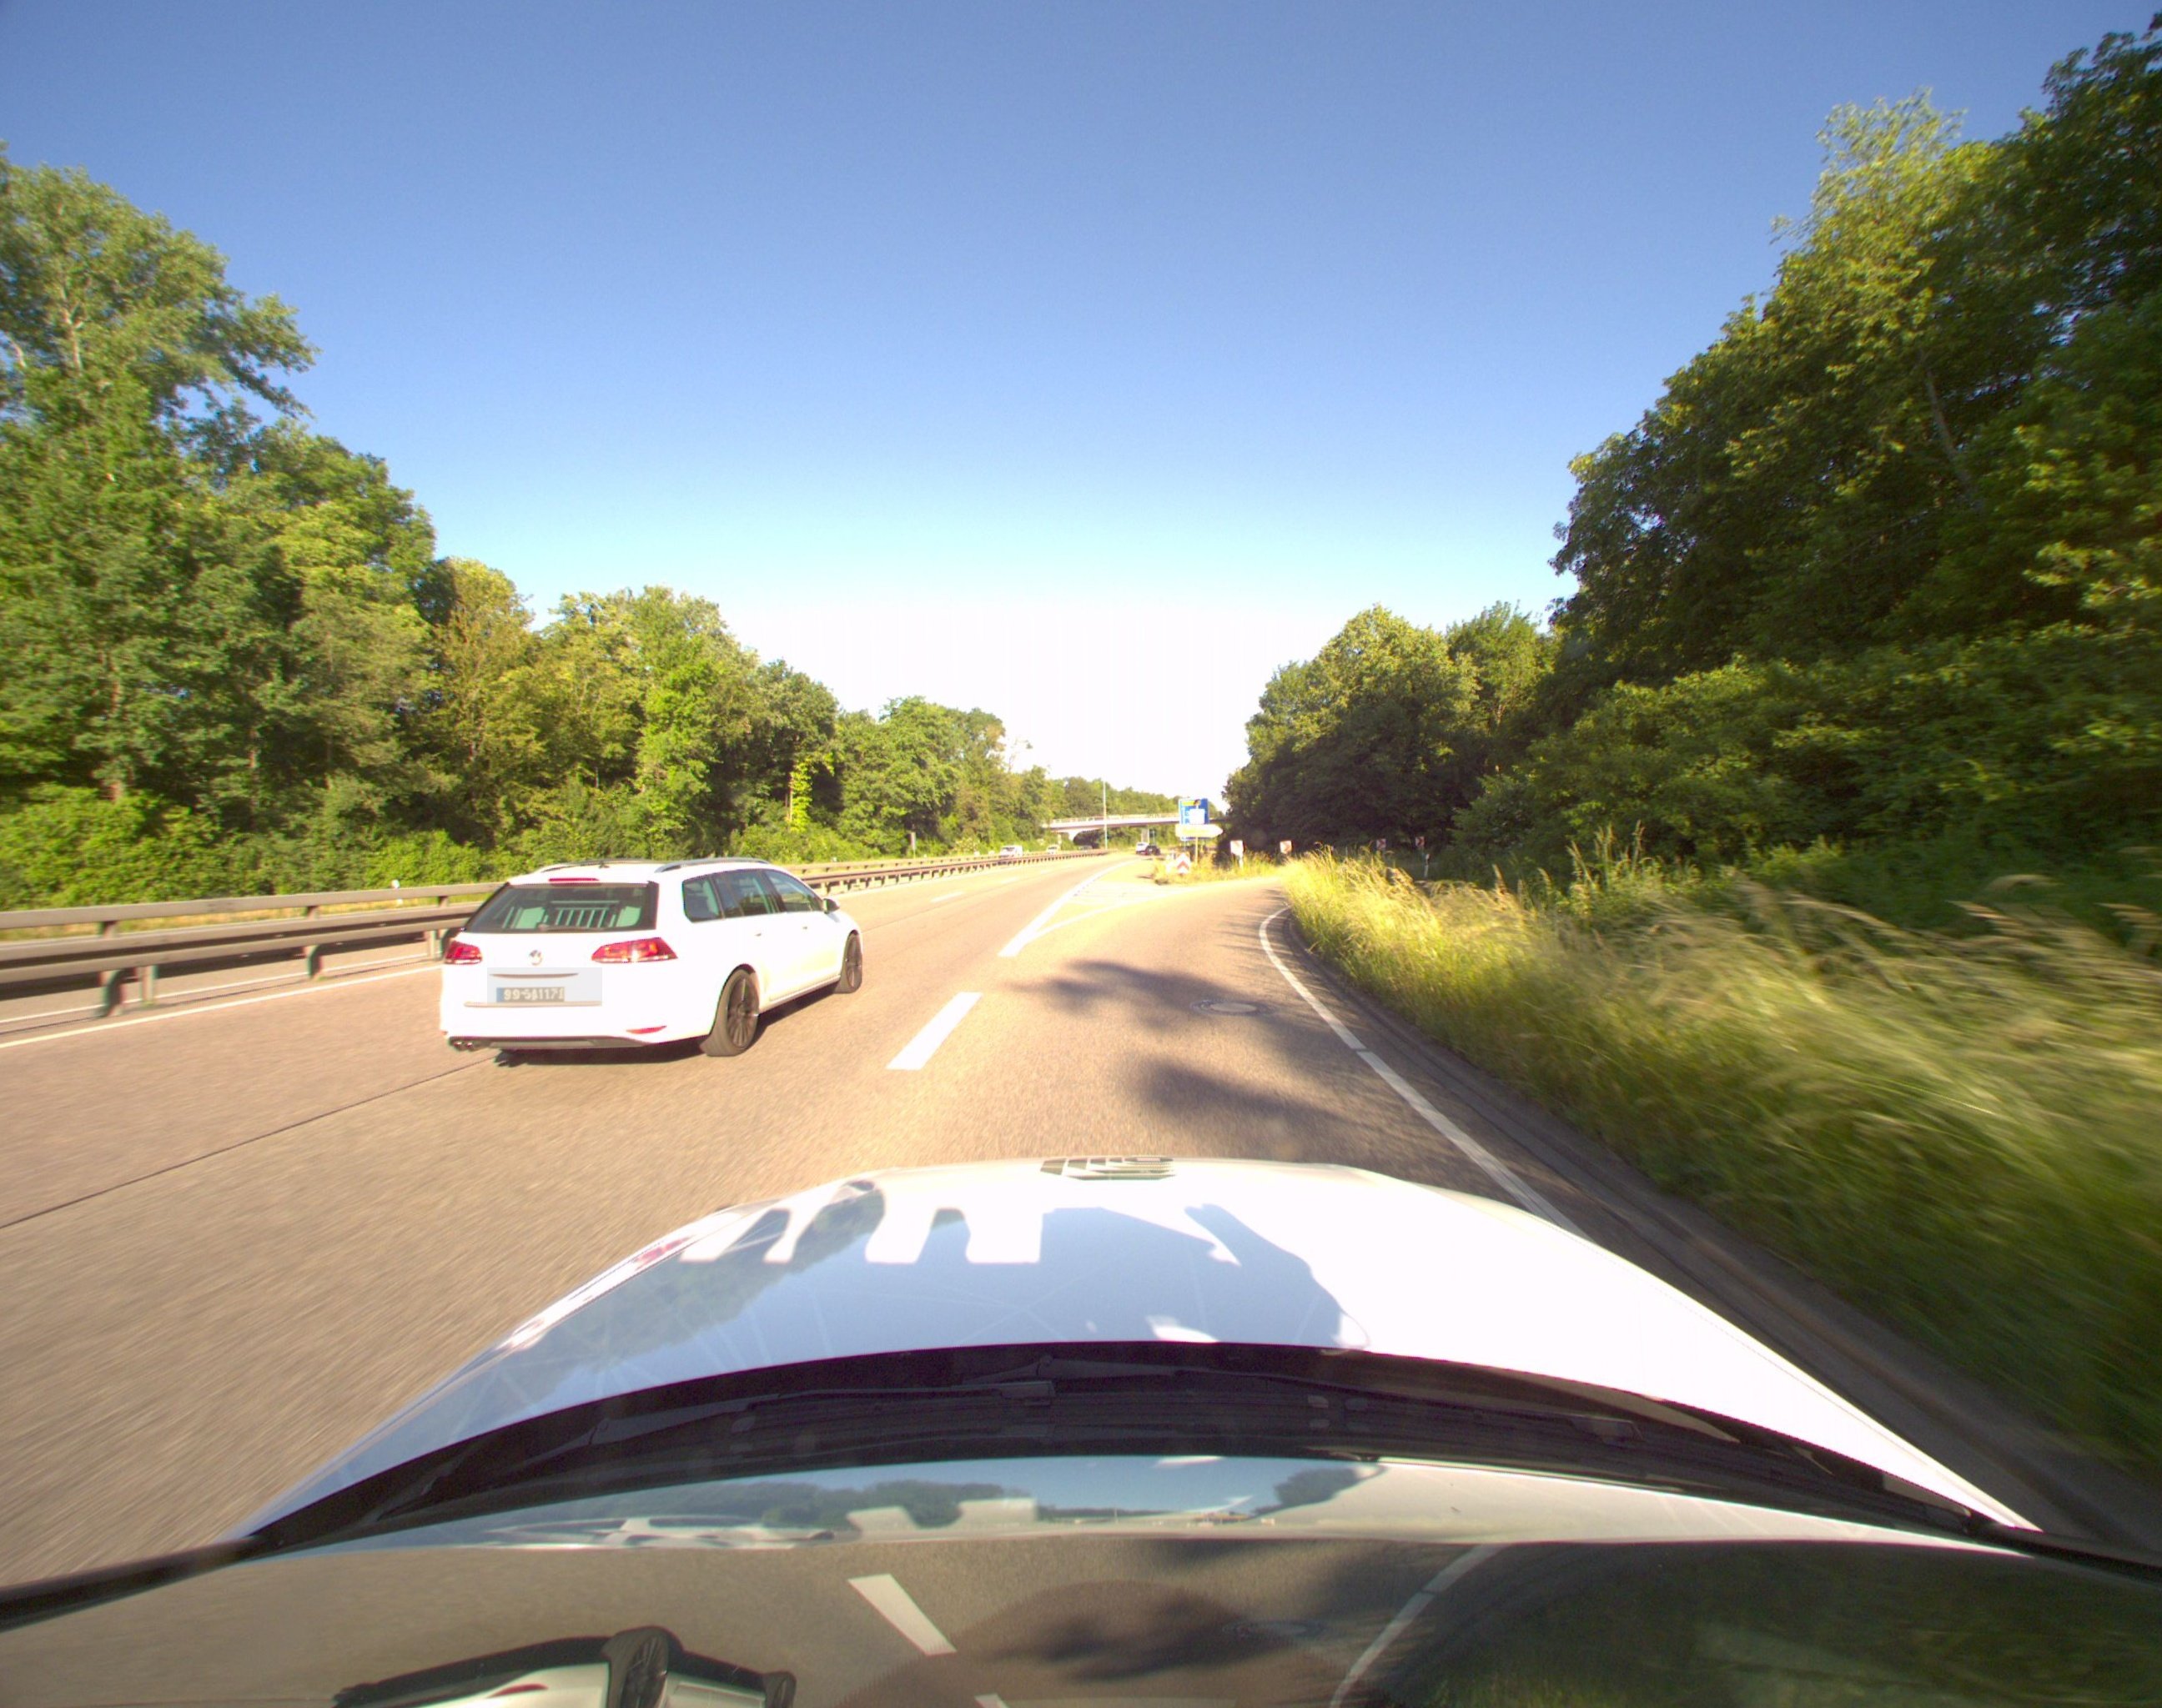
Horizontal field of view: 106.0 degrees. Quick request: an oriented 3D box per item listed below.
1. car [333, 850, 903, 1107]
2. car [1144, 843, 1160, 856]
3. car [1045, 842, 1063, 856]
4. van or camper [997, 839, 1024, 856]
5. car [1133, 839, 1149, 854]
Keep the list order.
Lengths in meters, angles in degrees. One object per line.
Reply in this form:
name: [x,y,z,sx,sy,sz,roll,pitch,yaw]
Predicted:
car: [-3.405,0.743,7.686,1.921,1.508,5.603,-1,0,3]
car: [9.832,-0.656,111.964,1.728,1.662,3.958,-2,0,11]
car: [-3.989,-0.740,121.856,1.982,2.013,4.009,-2,0,8]
van or camper: [-8.551,-0.793,99.139,2.061,2.013,4.831,-2,0,9]
car: [9.551,-1.132,129.132,1.981,2.277,4.012,-2,0,11]
